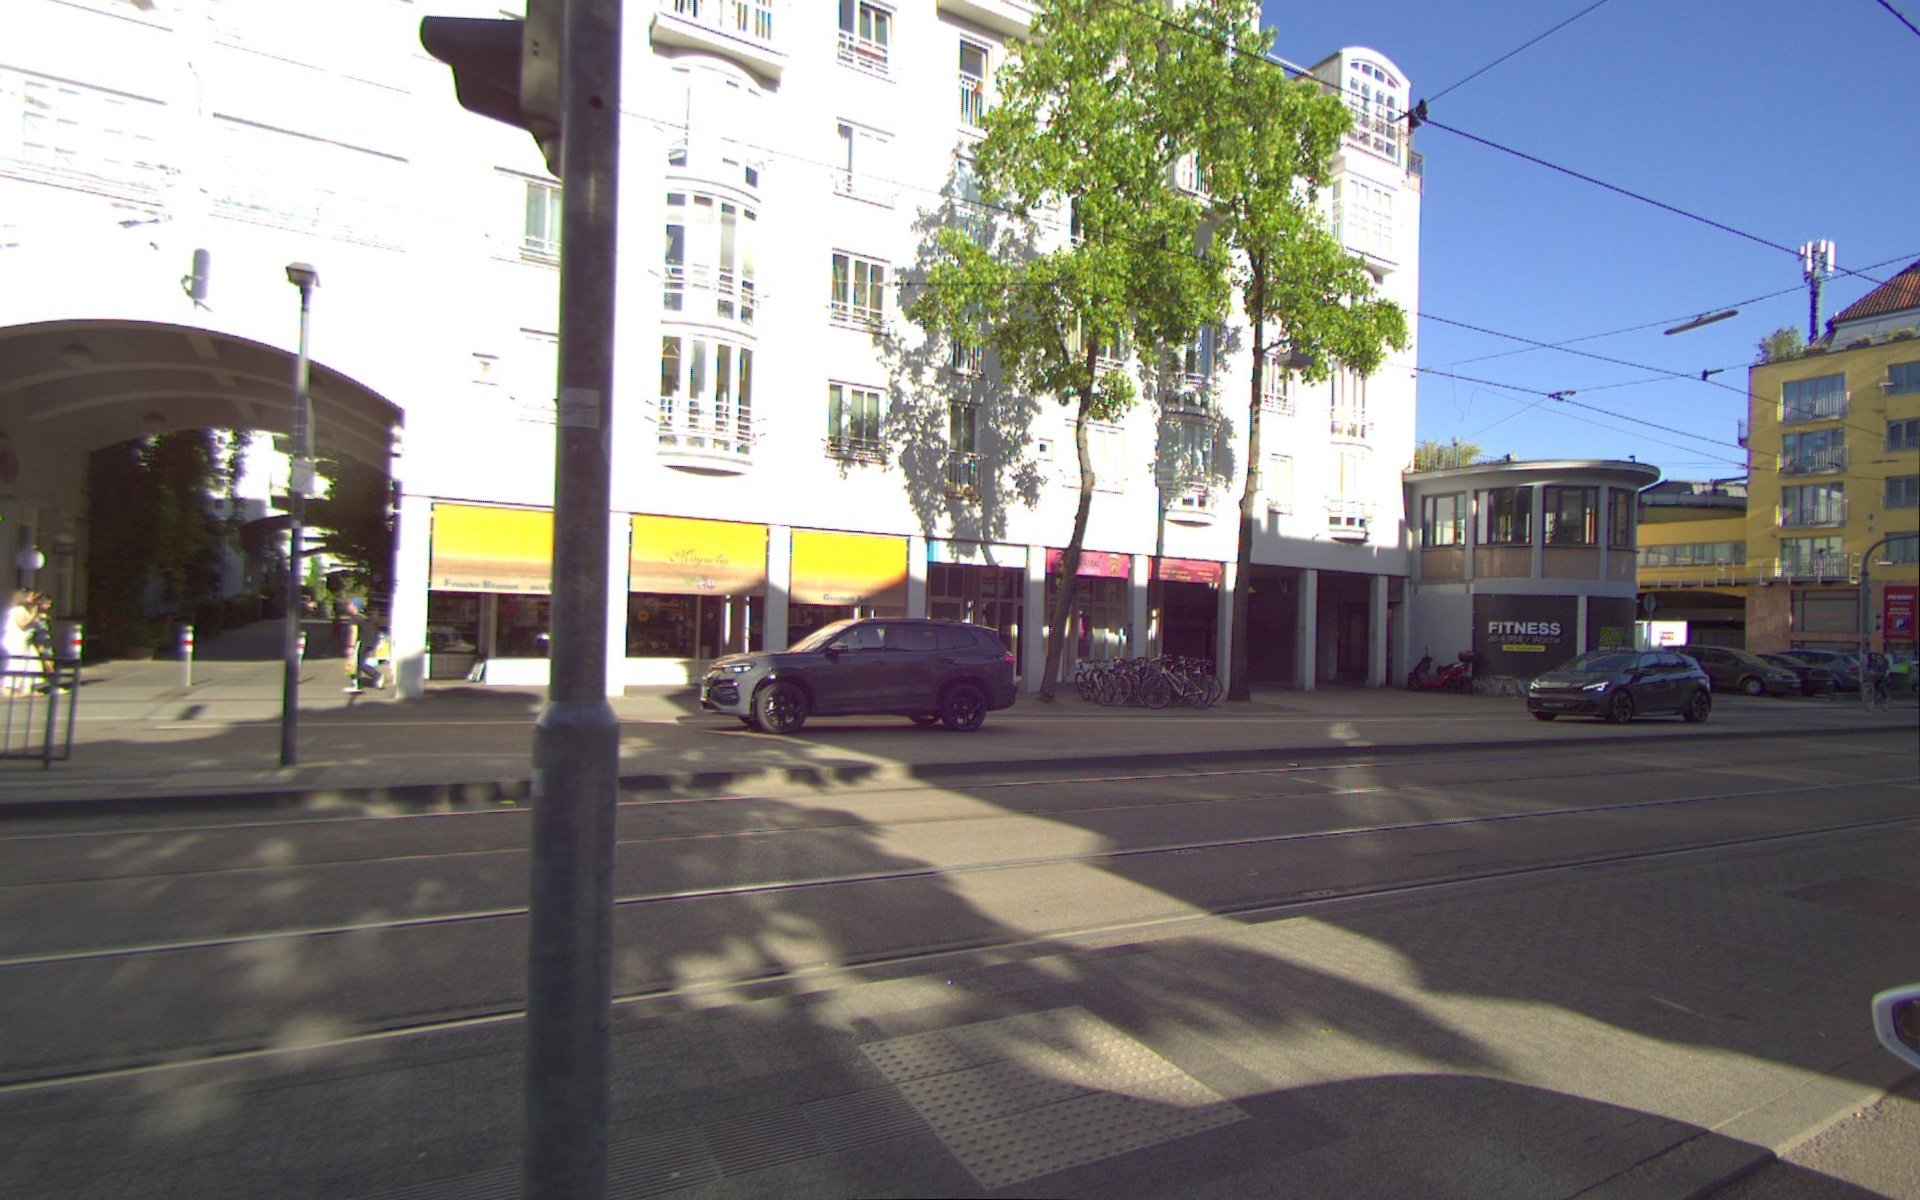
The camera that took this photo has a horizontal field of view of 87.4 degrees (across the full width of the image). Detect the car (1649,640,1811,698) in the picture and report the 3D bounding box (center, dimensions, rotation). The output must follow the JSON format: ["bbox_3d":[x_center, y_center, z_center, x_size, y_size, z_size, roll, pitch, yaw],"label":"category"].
[{"bbox_3d":[27.341,2.426,35.812,1.765,1.786,4.213,3,-2,-30],"label":"car"}]

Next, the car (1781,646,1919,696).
[{"bbox_3d":[35.980,2.822,40.457,1.765,1.835,4.214,5,-5,-30],"label":"car"}]

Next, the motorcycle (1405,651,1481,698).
[{"bbox_3d":[14.406,2.216,29.994,0.668,1.279,1.969,3,-2,-35],"label":"motorcycle"}]

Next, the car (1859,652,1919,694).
[{"bbox_3d":[44.639,3.407,46.499,1.765,1.835,4.213,3,-2,-30],"label":"car"}]

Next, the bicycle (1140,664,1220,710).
[{"bbox_3d":[4.780,1.890,21.810,1.728,0.944,0.469,2,-1,-21],"label":"bicycle"}]

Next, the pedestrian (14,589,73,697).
[{"bbox_3d":[-14.537,0.681,15.937,0.517,1.666,0.559,2,-1,-30],"label":"pedestrian"}]

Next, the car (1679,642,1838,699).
[{"bbox_3d":[29.285,2.556,36.967,1.765,1.835,4.213,5,-4,-30],"label":"car"}]

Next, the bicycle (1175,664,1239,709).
[{"bbox_3d":[5.813,2.018,23.723,0.562,0.944,1.746,2,-2,-21],"label":"bicycle"}]

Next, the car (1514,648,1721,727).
[{"bbox_3d":[14.076,1.843,21.493,4.210,1.560,1.774,3,-3,-25],"label":"car"}]

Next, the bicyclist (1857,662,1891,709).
[{"bbox_3d":[27.664,2.569,30.408,0.710,1.379,0.560,2,-2,-30],"label":"bicyclist"}]

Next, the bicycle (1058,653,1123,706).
[{"bbox_3d":[2.910,1.760,22.576,0.504,1.091,1.868,3,-2,-25],"label":"bicycle"}]

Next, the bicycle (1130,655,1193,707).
[{"bbox_3d":[4.642,1.853,23.235,0.458,1.091,1.870,2,-2,-21],"label":"bicycle"}]

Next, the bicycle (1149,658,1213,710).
[{"bbox_3d":[5.090,1.928,23.259,0.458,1.091,1.870,2,-2,-21],"label":"bicycle"}]

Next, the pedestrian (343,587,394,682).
[{"bbox_3d":[-10.737,0.626,18.247,0.722,1.666,0.742,2,-2,-30],"label":"pedestrian"}]

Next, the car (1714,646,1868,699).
[{"bbox_3d":[31.664,2.740,38.422,1.765,1.835,4.214,4,-4,-30],"label":"car"}]

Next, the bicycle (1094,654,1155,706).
[{"bbox_3d":[3.712,1.802,22.837,0.458,1.091,1.870,2,-2,-21],"label":"bicycle"}]

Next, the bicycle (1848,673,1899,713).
[{"bbox_3d":[27.638,2.806,30.381,1.981,1.138,0.561,3,-2,-30],"label":"bicycle"}]

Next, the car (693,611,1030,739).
[{"bbox_3d":[-1.445,1.124,15.090,4.705,1.690,1.775,2,-3,-24],"label":"car"}]

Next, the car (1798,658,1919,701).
[{"bbox_3d":[38.159,3.345,42.175,1.765,1.630,4.214,5,-5,-30],"label":"car"}]

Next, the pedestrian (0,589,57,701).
[{"bbox_3d":[-14.263,0.686,15.354,0.517,1.666,0.559,2,-1,-30],"label":"pedestrian"}]

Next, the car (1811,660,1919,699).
[{"bbox_3d":[40.129,3.464,43.833,1.765,1.568,4.214,5,-5,-30],"label":"car"}]

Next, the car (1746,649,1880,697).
[{"bbox_3d":[33.771,2.846,39.860,1.764,1.694,3.672,3,-2,-30],"label":"car"}]
